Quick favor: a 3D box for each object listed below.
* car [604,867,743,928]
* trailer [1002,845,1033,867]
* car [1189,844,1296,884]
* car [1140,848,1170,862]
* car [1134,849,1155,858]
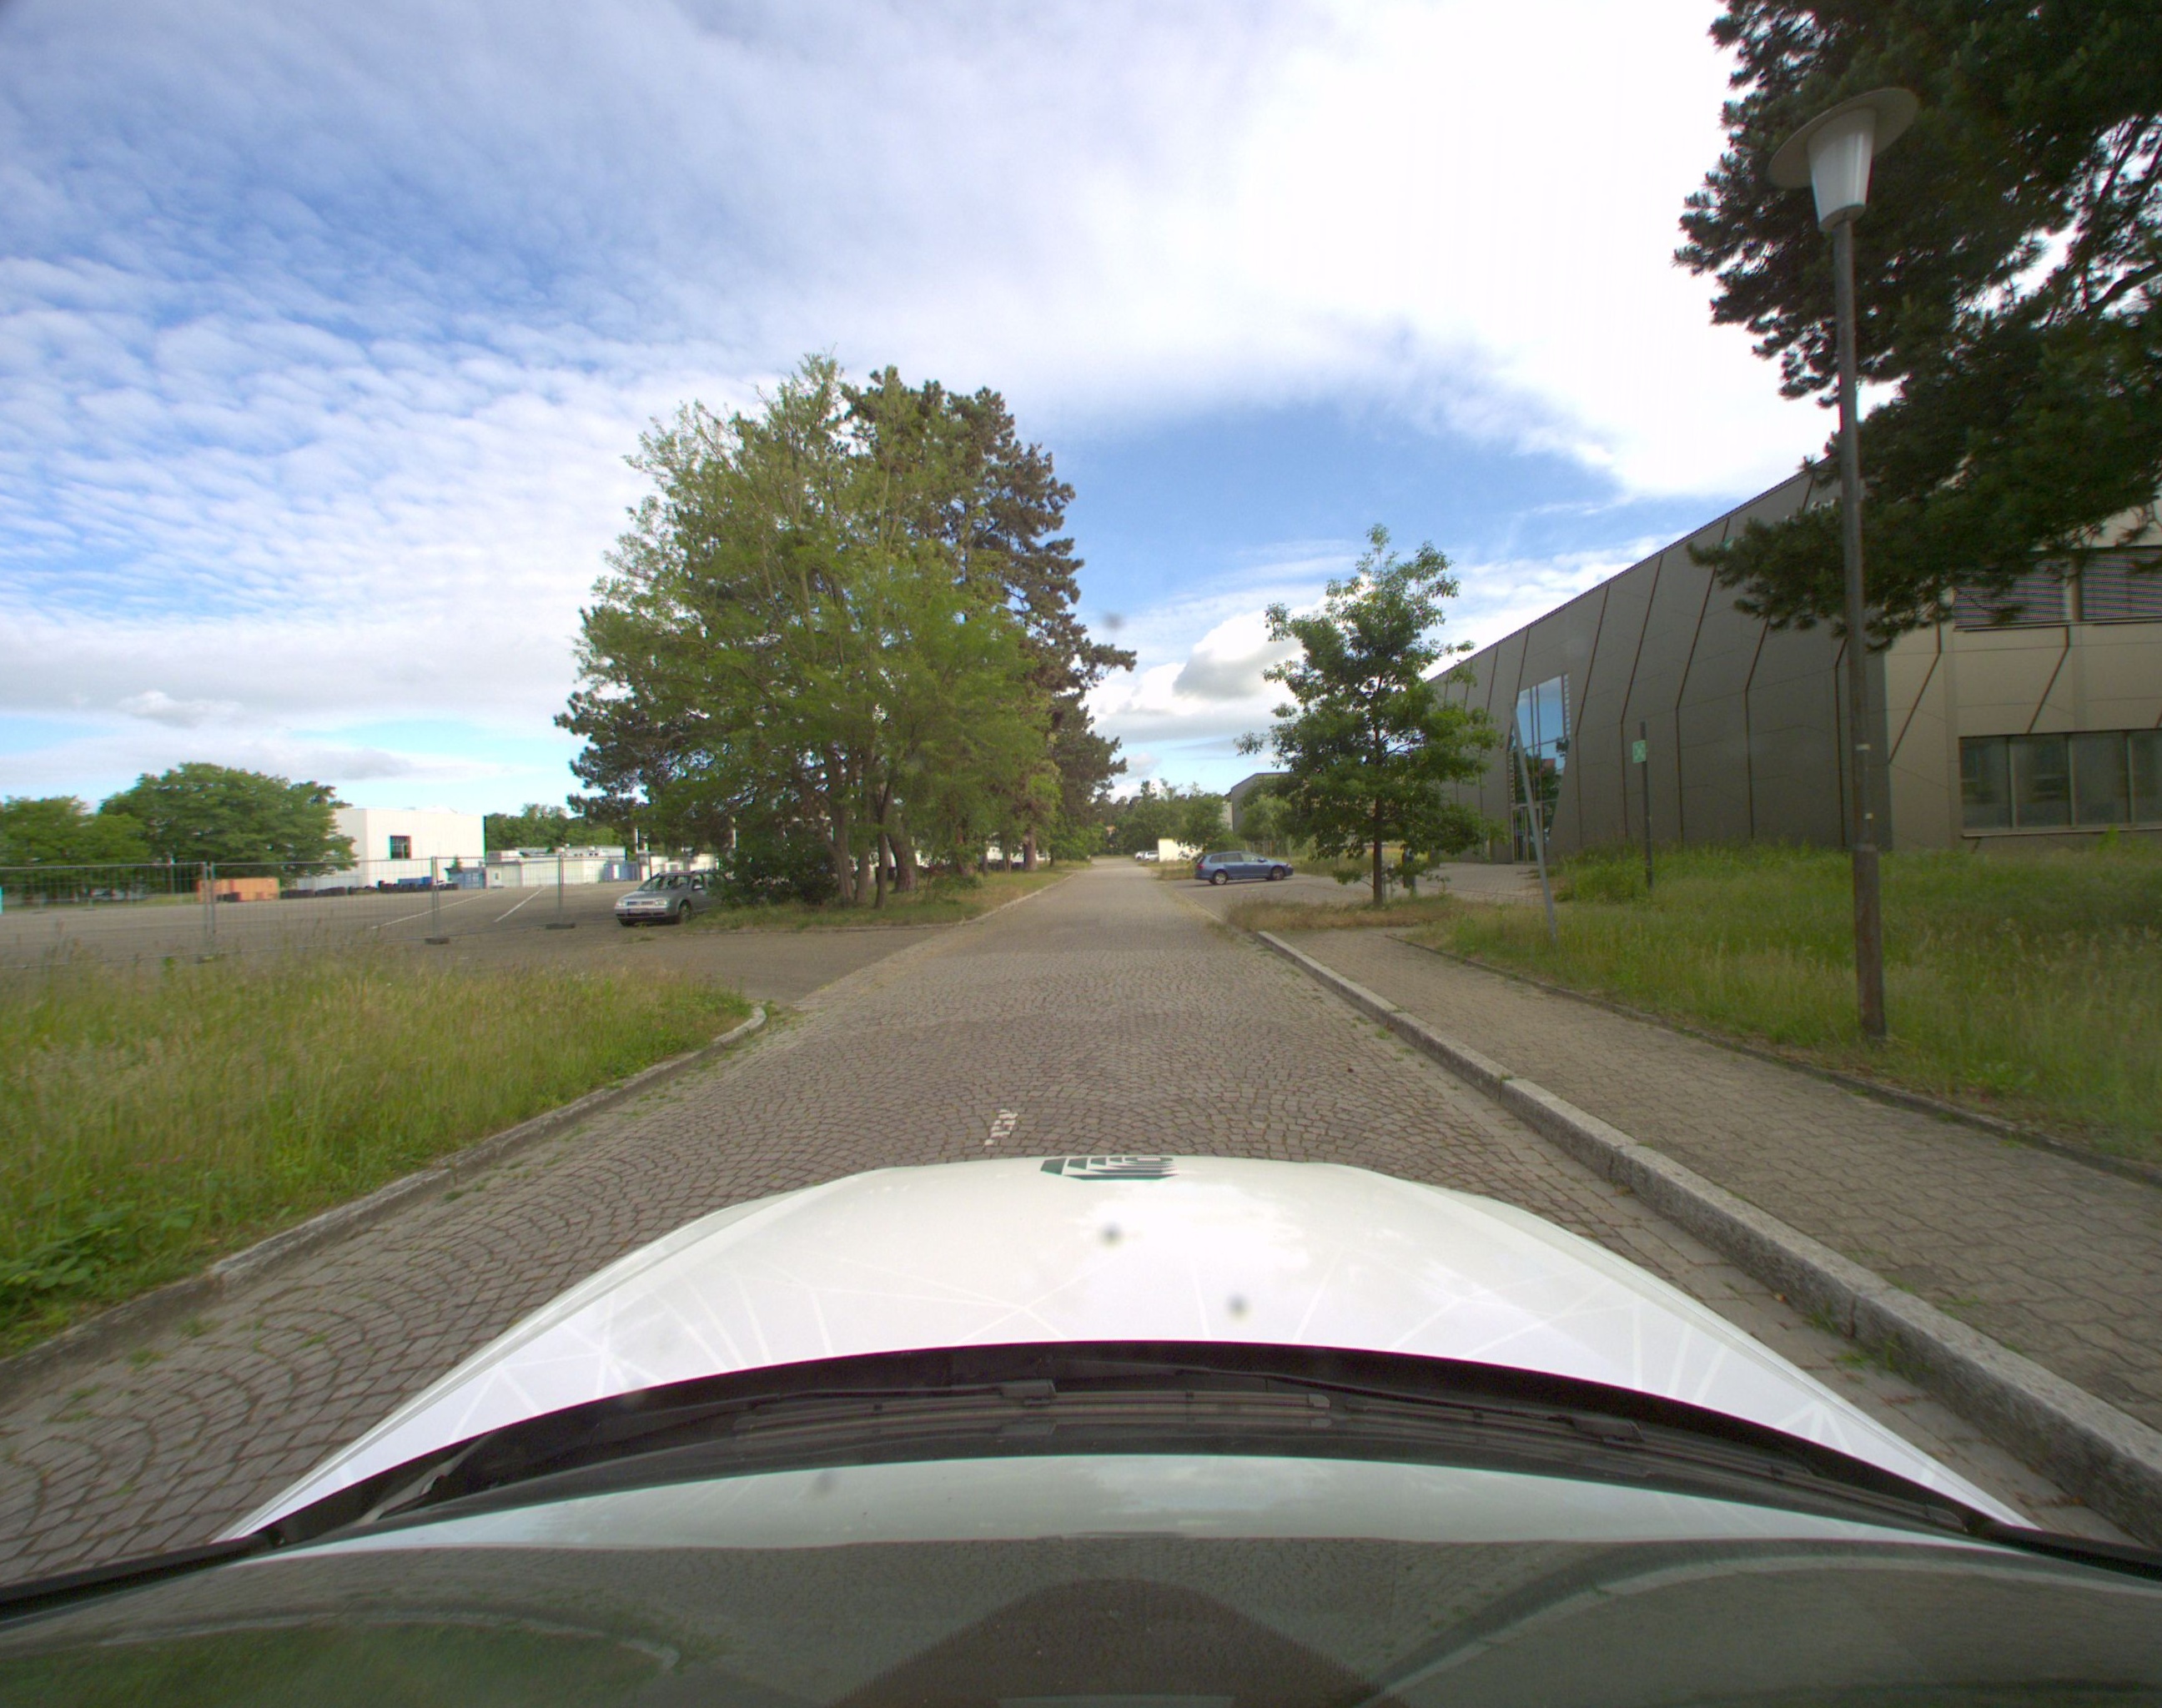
[{"bbox_3d":[-11.661,1.174,23.686,1.710,1.438,4.466,-2,0,0],"label":"car"},{"bbox_3d":[-9.615,0.220,124.431,3.144,3.067,8.794,-2,0,4],"label":"trailer"},{"bbox_3d":[7.385,0.449,37.585,4.509,1.443,1.823,-4,0,-1],"label":"car"},{"bbox_3d":[10.102,0.132,111.128,3.838,1.654,1.686,-2,0,-1],"label":"car"},{"bbox_3d":[12.296,-0.132,157.260,4.008,1.502,1.549,-2,0,3],"label":"car"}]
